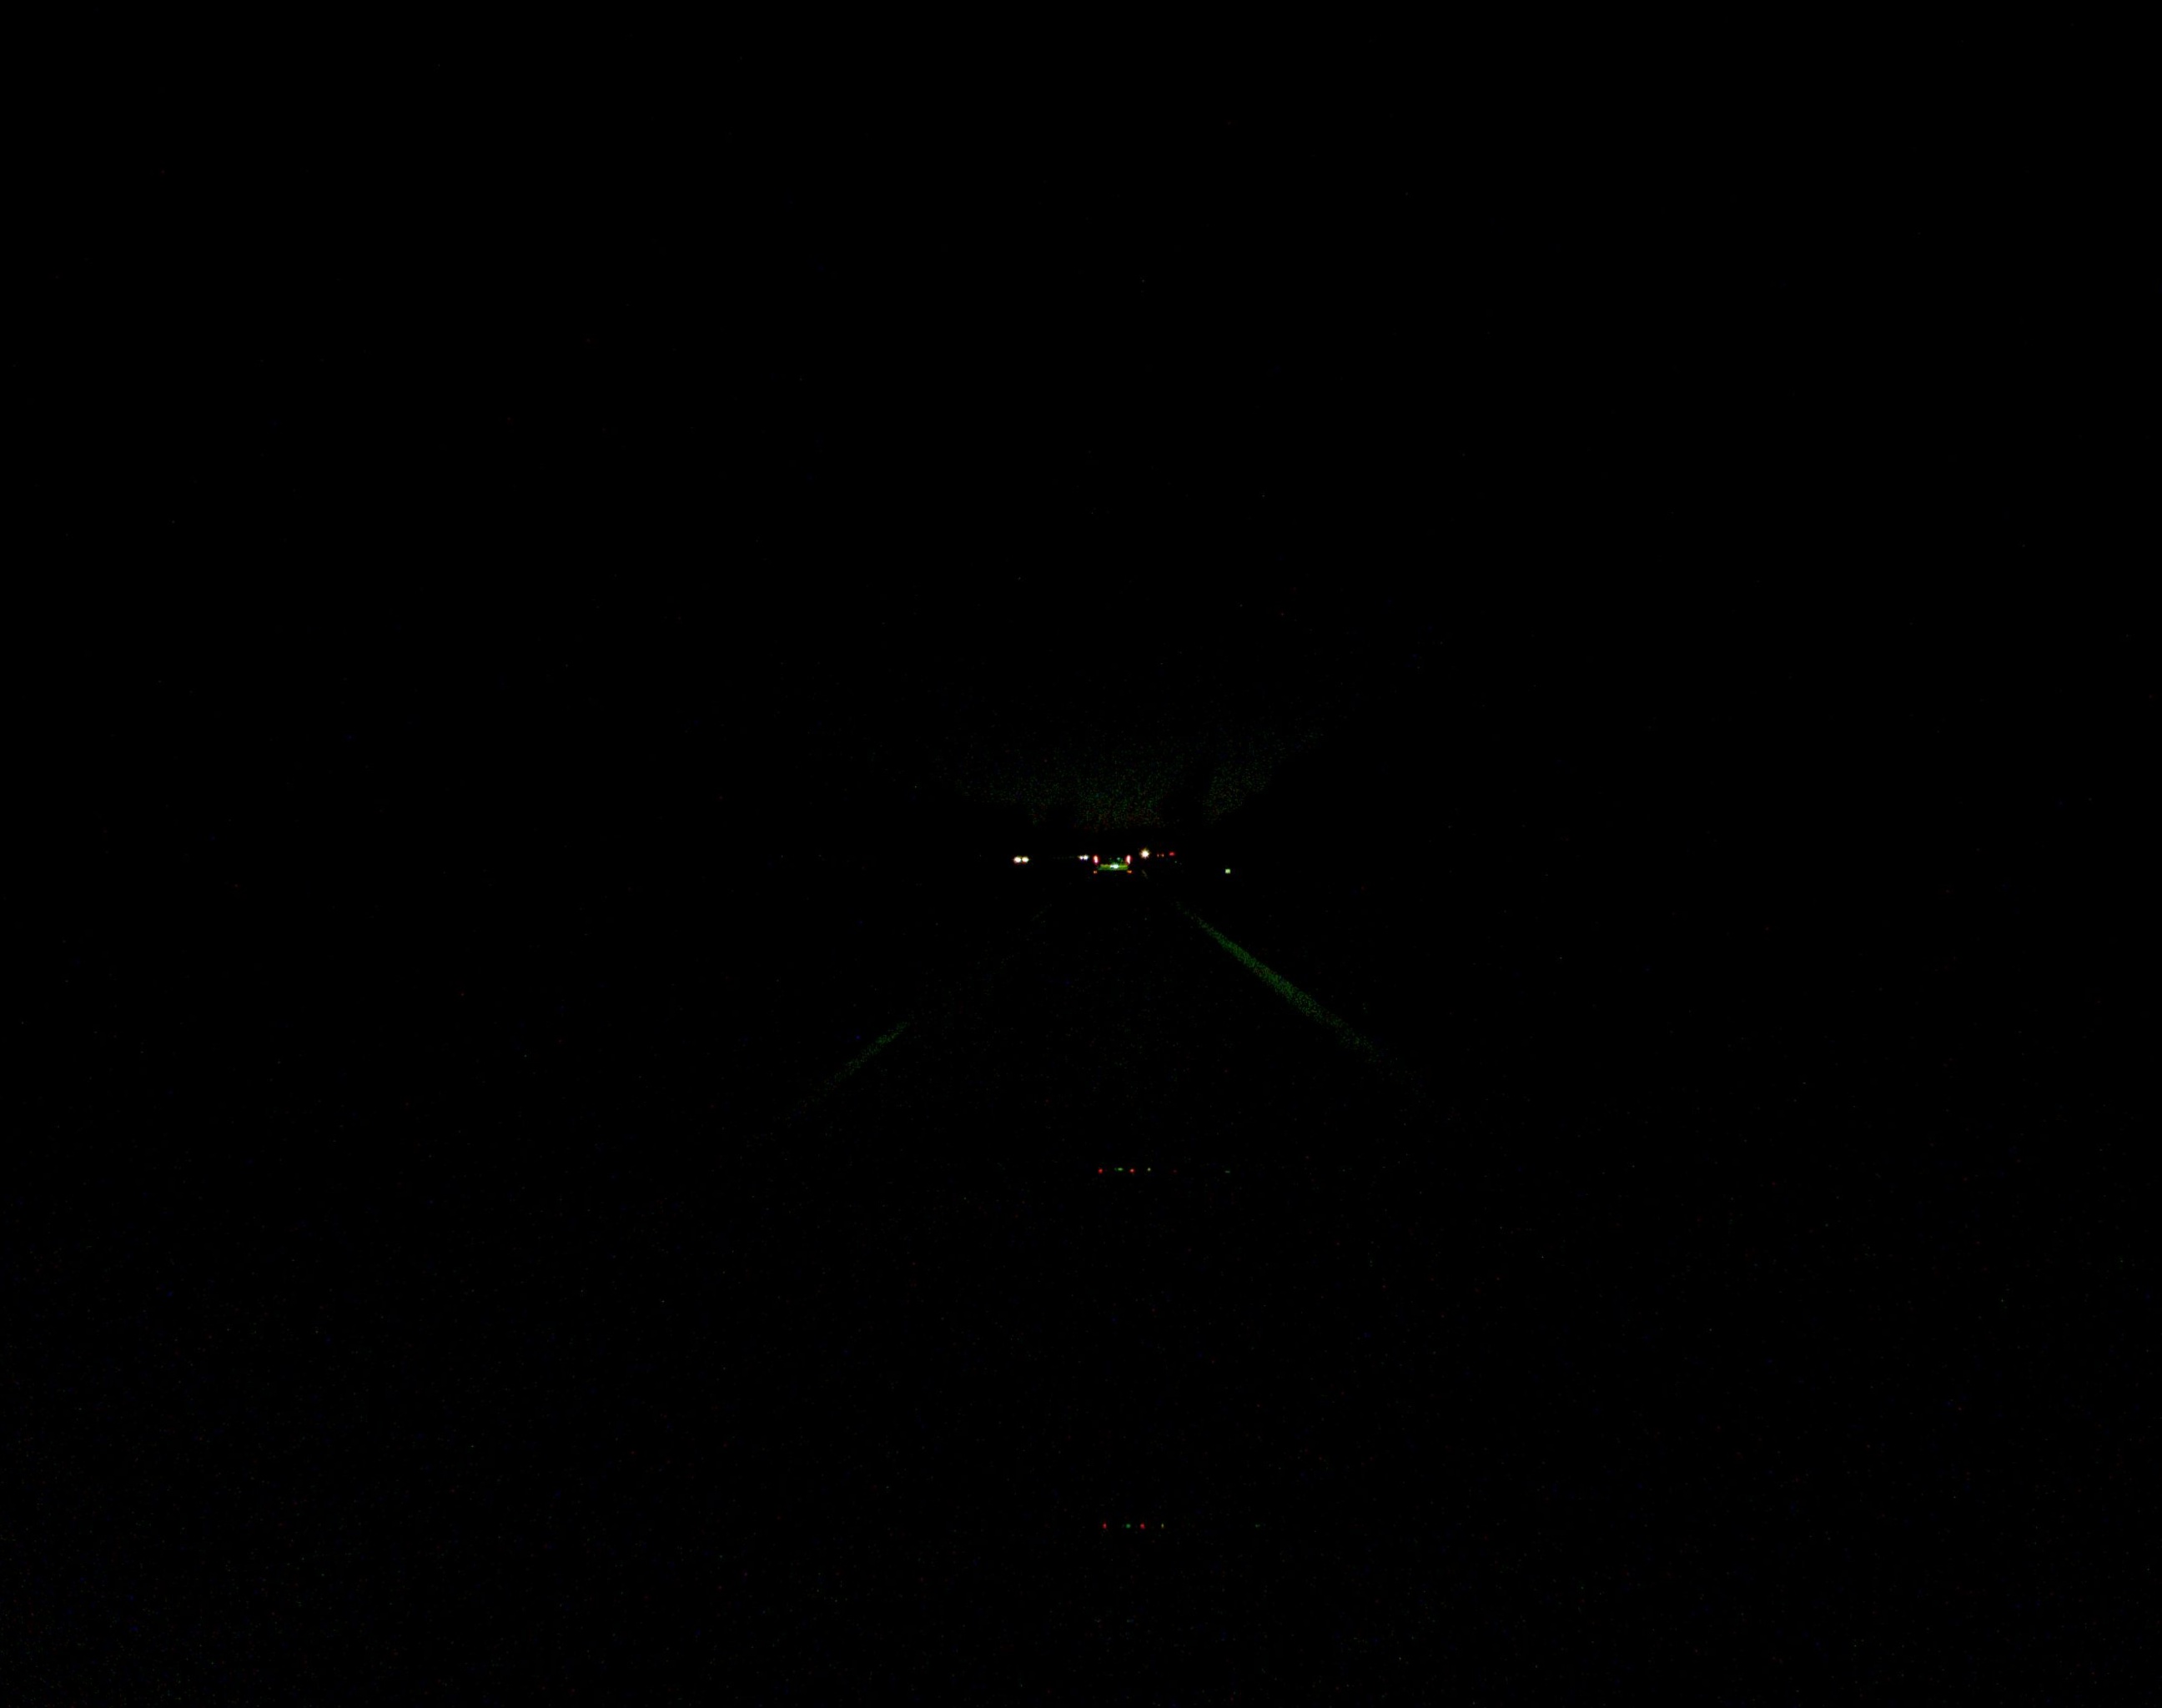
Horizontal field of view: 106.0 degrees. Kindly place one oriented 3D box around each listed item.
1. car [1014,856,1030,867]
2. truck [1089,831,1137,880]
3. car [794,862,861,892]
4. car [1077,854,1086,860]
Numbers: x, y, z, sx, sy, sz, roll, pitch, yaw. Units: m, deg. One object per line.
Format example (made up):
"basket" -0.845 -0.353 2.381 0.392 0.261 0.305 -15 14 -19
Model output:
"car" -9.962 1.293 138.390 1.984 1.786 4.405 -1 -1 5
"truck" 1.886 0.130 49.020 2.620 2.624 8.687 -1 -1 2
"car" -13.265 1.175 42.867 1.986 1.468 4.401 -1 -1 2
"car" 0.121 0.747 230.284 1.983 1.650 4.408 -1 -1 7
